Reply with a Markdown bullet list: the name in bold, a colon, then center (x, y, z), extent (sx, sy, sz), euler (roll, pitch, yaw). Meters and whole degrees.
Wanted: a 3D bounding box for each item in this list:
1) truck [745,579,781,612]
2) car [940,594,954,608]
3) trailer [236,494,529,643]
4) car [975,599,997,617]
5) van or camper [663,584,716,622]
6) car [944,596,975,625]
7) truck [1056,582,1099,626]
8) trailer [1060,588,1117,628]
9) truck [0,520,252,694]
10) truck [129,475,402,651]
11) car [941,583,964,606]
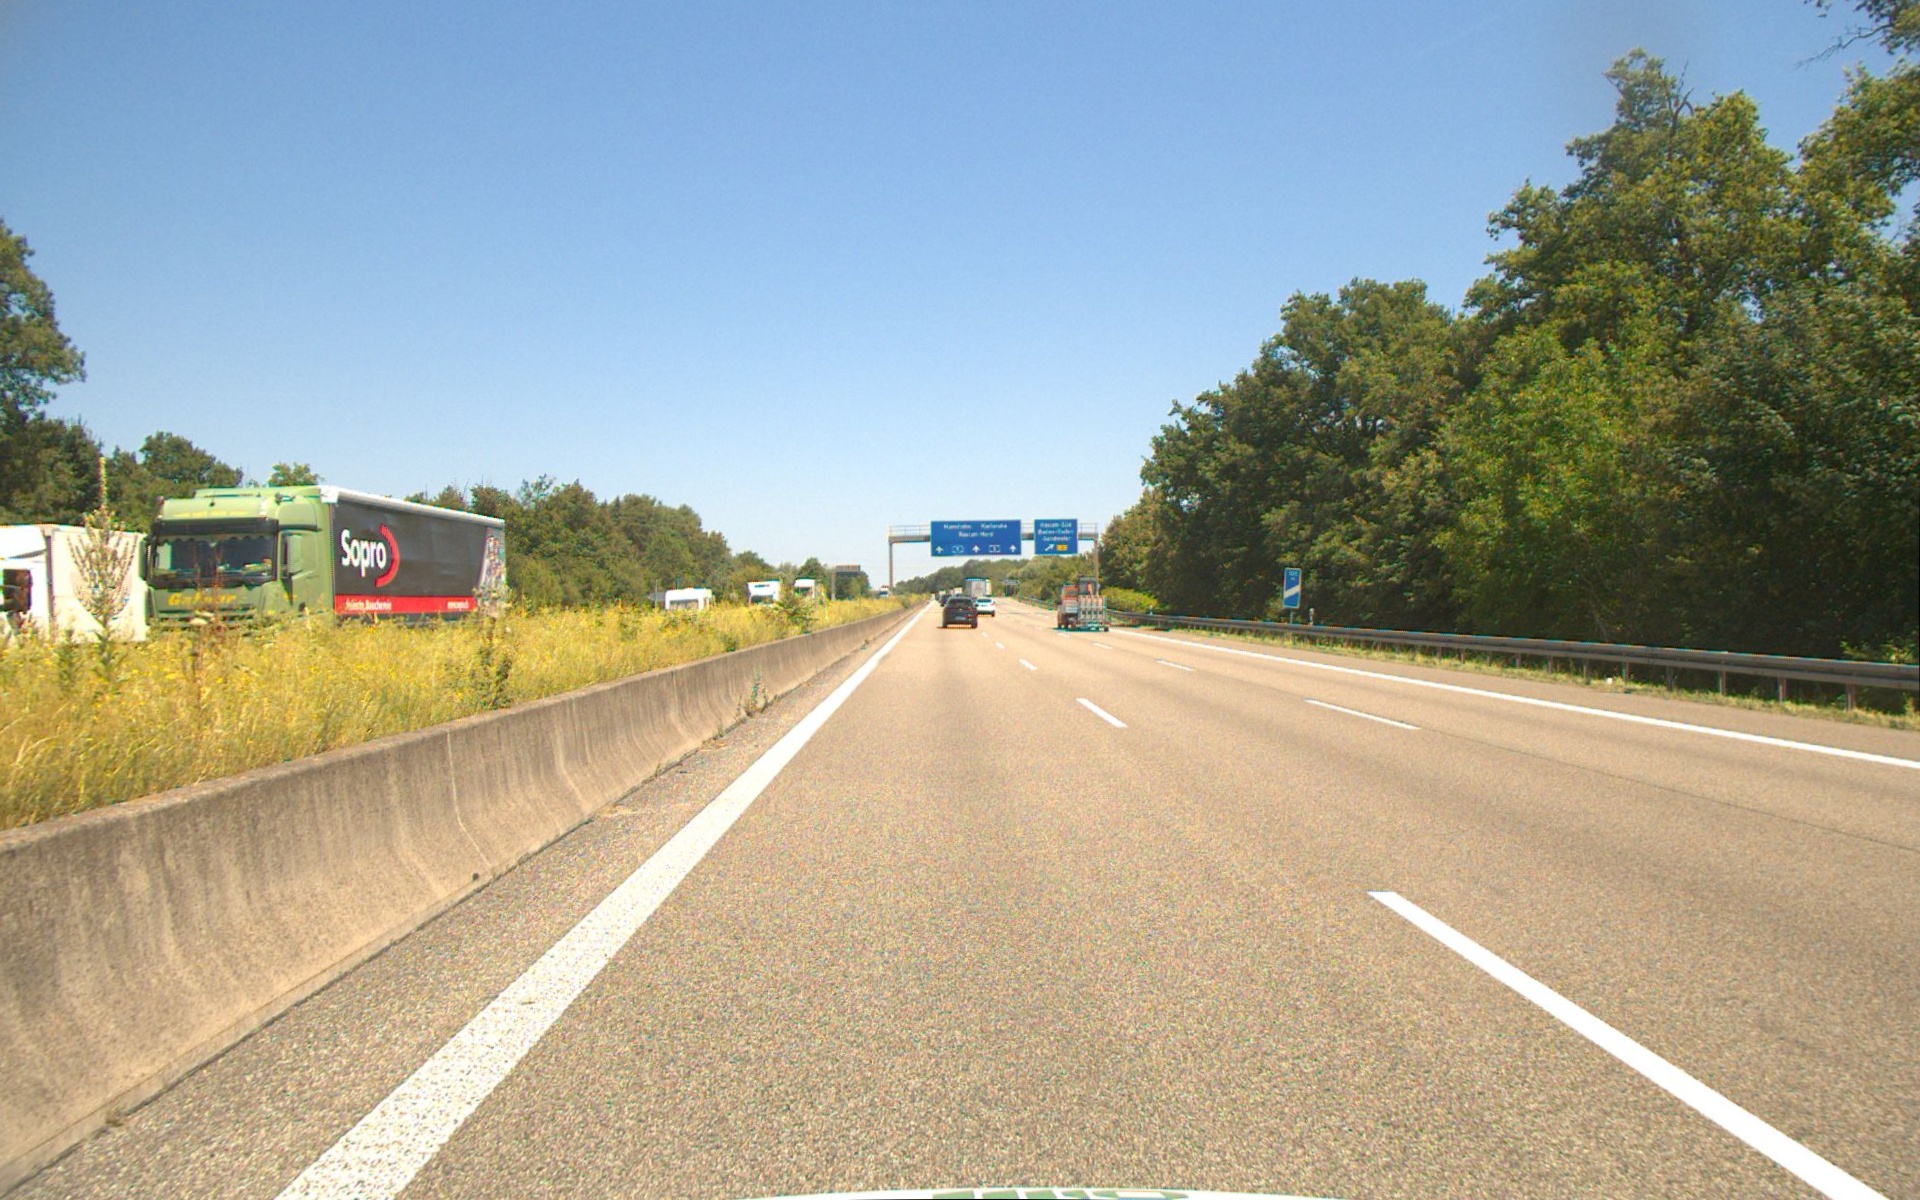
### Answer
- **truck**: center (-14.683, -0.303, 123.419), extent (2.264, 2.367, 6.076), euler (0, 0, -3)
- **car**: center (-1.944, 0.099, 249.942), extent (1.953, 2.049, 3.999), euler (-2, 0, -2)
- **trailer**: center (-13.590, -0.650, 40.753), extent (2.589, 3.021, 14.228), euler (0, 0, -2)
- **car**: center (2.221, 0.658, 143.006), extent (1.705, 1.512, 3.999), euler (0, 0, -1)
- **van or camper**: center (-15.116, 0.193, 92.623), extent (2.177, 2.049, 5.884), euler (1, 0, -2)
- **car**: center (-0.034, 0.565, 93.606), extent (1.627, 1.576, 3.781), euler (0, 0, -2)
- **truck**: center (6.575, 0.210, 93.176), extent (1.953, 2.415, 4.642), euler (0, 0, -2)
- **trailer**: center (6.762, 0.412, 87.828), extent (2.372, 2.049, 6.031), euler (0, 0, -2)
- **truck**: center (-17.924, 0.129, 33.710), extent (2.632, 2.993, 10.484), euler (0, 0, -1)
- **truck**: center (-13.377, -0.656, 32.564), extent (2.554, 3.061, 6.970), euler (0, 0, -1)
- **car**: center (-0.677, -0.473, 149.167), extent (1.953, 2.049, 3.999), euler (-1, 0, -1)
